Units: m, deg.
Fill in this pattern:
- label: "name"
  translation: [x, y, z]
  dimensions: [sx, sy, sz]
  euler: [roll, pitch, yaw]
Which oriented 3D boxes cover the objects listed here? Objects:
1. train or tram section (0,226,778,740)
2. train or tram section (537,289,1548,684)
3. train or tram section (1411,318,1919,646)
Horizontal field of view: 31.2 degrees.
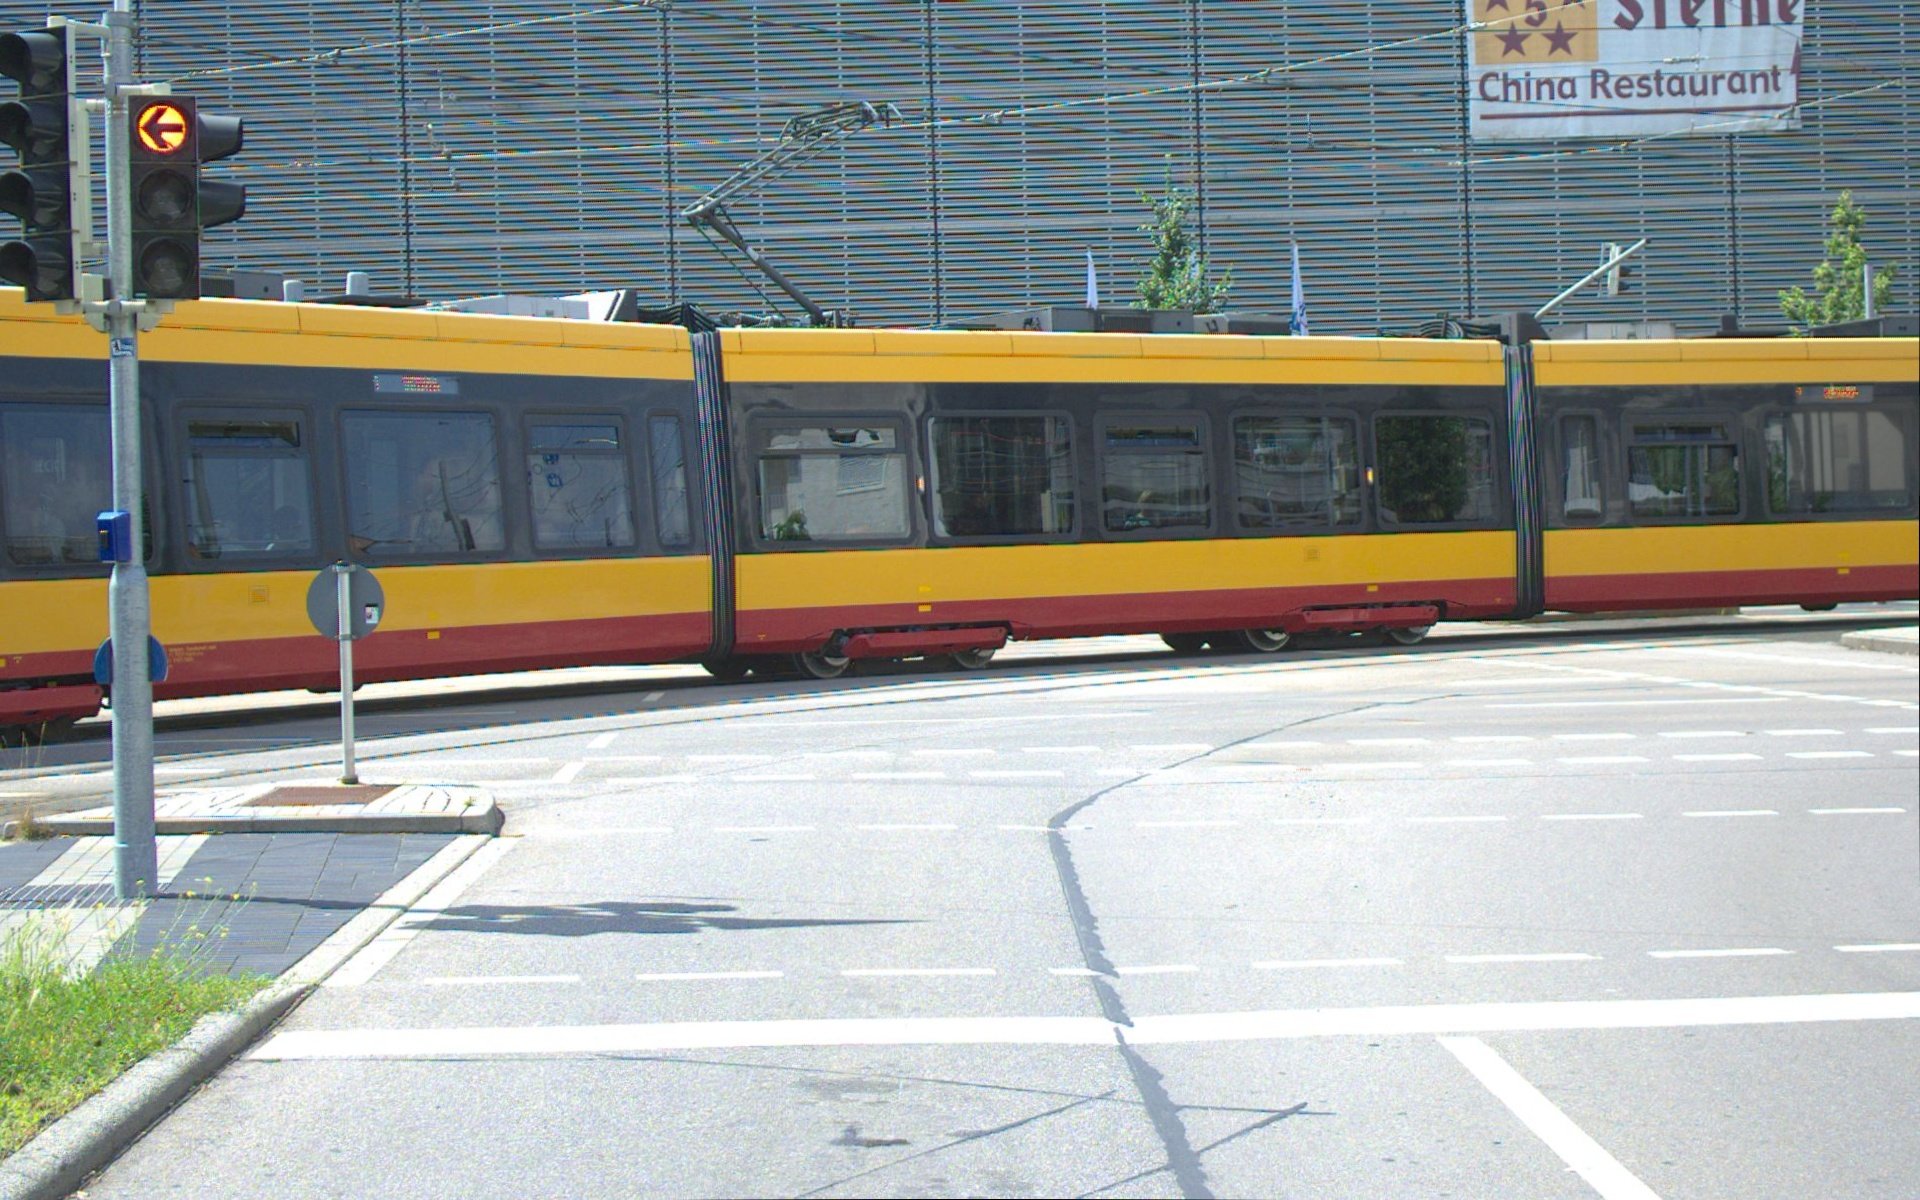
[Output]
- label: "train or tram section"
  translation: [-6.654, -0.894, 27.080]
  dimensions: [3.222, 3.587, 13.476]
  euler: [0, 2, 32]
- label: "train or tram section"
  translation: [1.162, -1.170, 35.822]
  dimensions: [10.959, 3.591, 3.064]
  euler: [-1, 2, -37]
- label: "train or tram section"
  translation: [11.801, -1.430, 41.406]
  dimensions: [12.591, 3.608, 3.066]
  euler: [-1, 1, -19]
